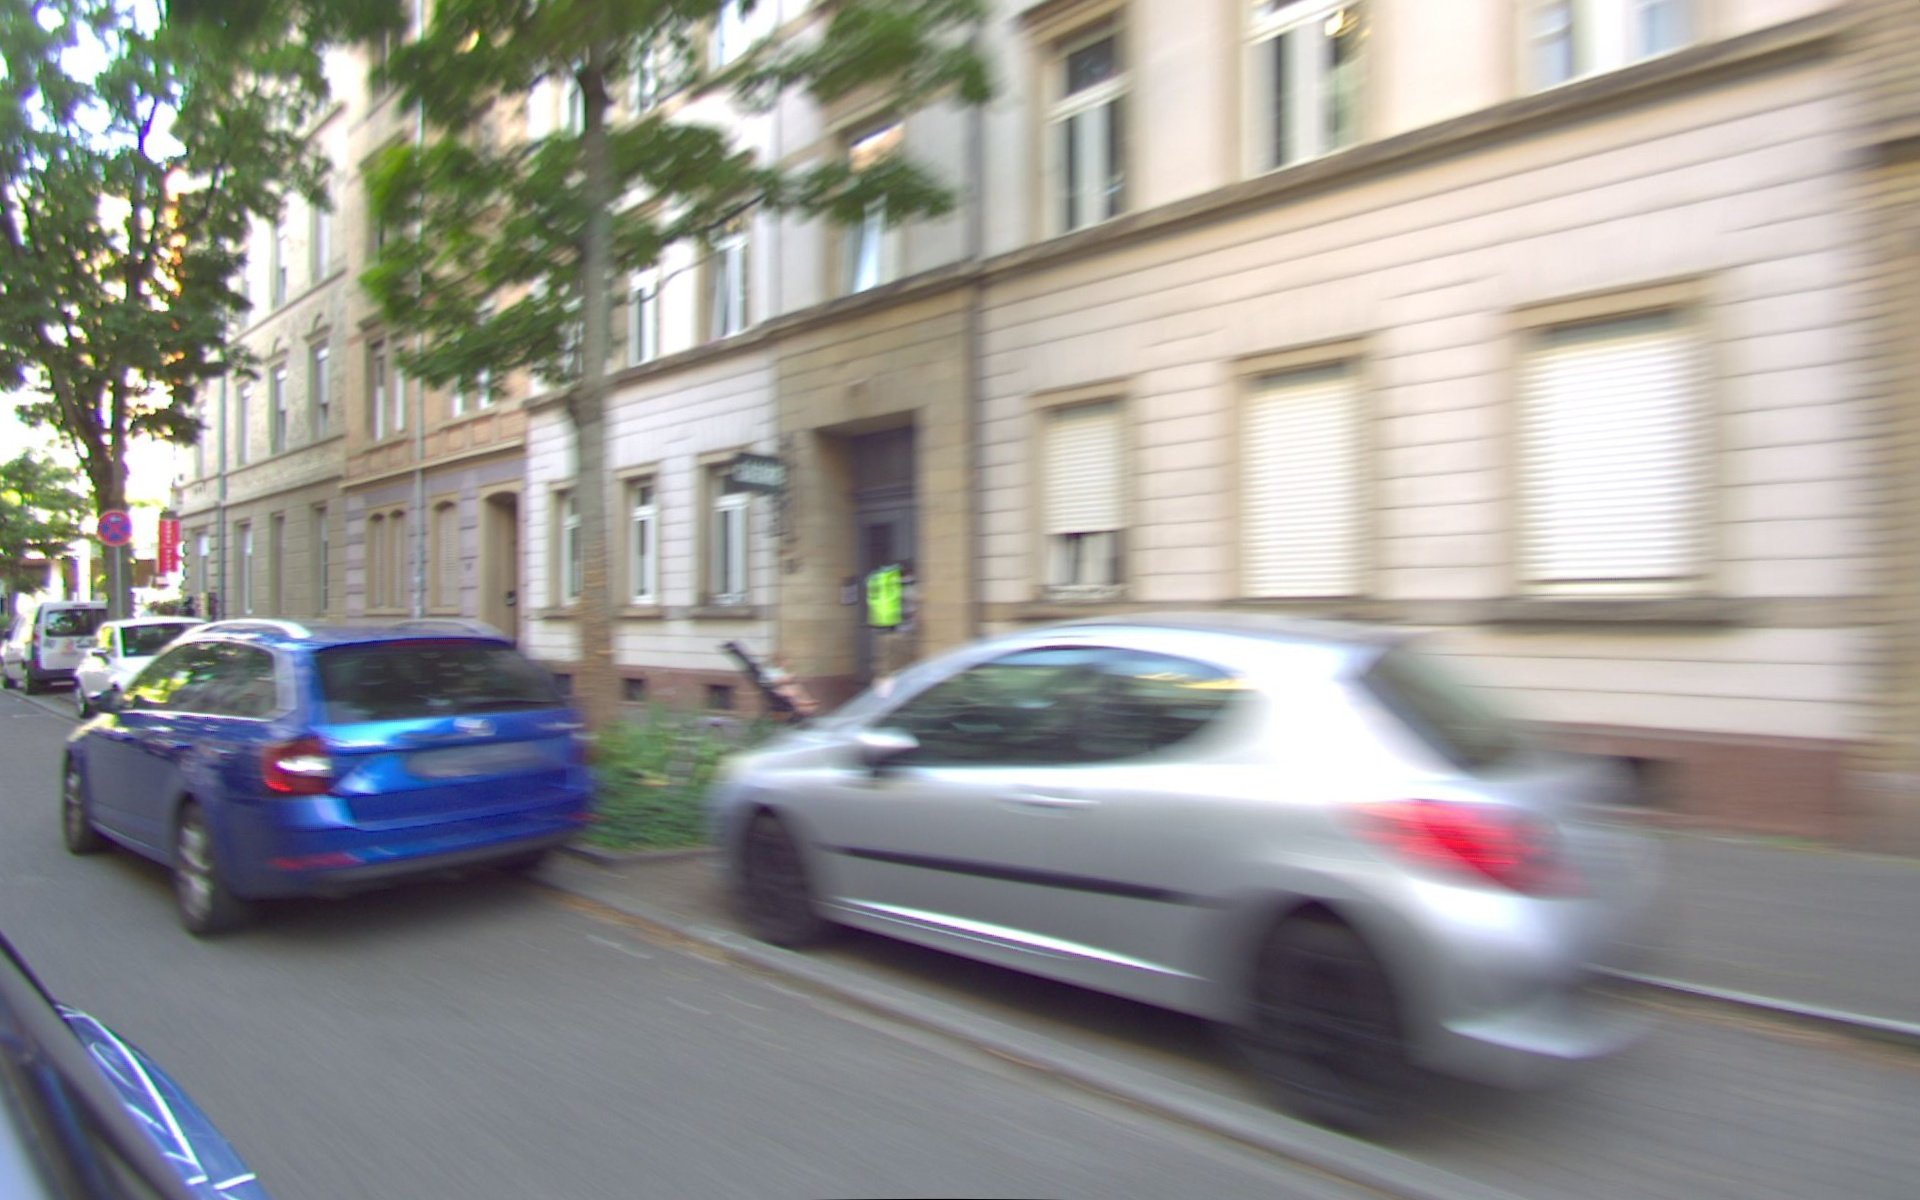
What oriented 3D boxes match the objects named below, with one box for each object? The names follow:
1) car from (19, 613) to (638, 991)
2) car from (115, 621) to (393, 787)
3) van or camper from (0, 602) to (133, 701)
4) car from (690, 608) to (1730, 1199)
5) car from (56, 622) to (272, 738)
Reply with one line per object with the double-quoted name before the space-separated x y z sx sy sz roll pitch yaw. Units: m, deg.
"car" -3.876 0.835 5.911 4.277 1.468 1.645 -1 -2 37
"car" -7.894 0.994 11.197 3.756 1.506 1.733 -1 -1 42
"van or camper" -18.709 1.010 20.971 3.752 1.872 1.663 -1 -1 38
"car" 0.682 0.785 4.154 3.846 1.450 1.593 -1 0 41
"car" -12.068 1.102 15.279 3.752 1.506 1.735 -1 -1 38
